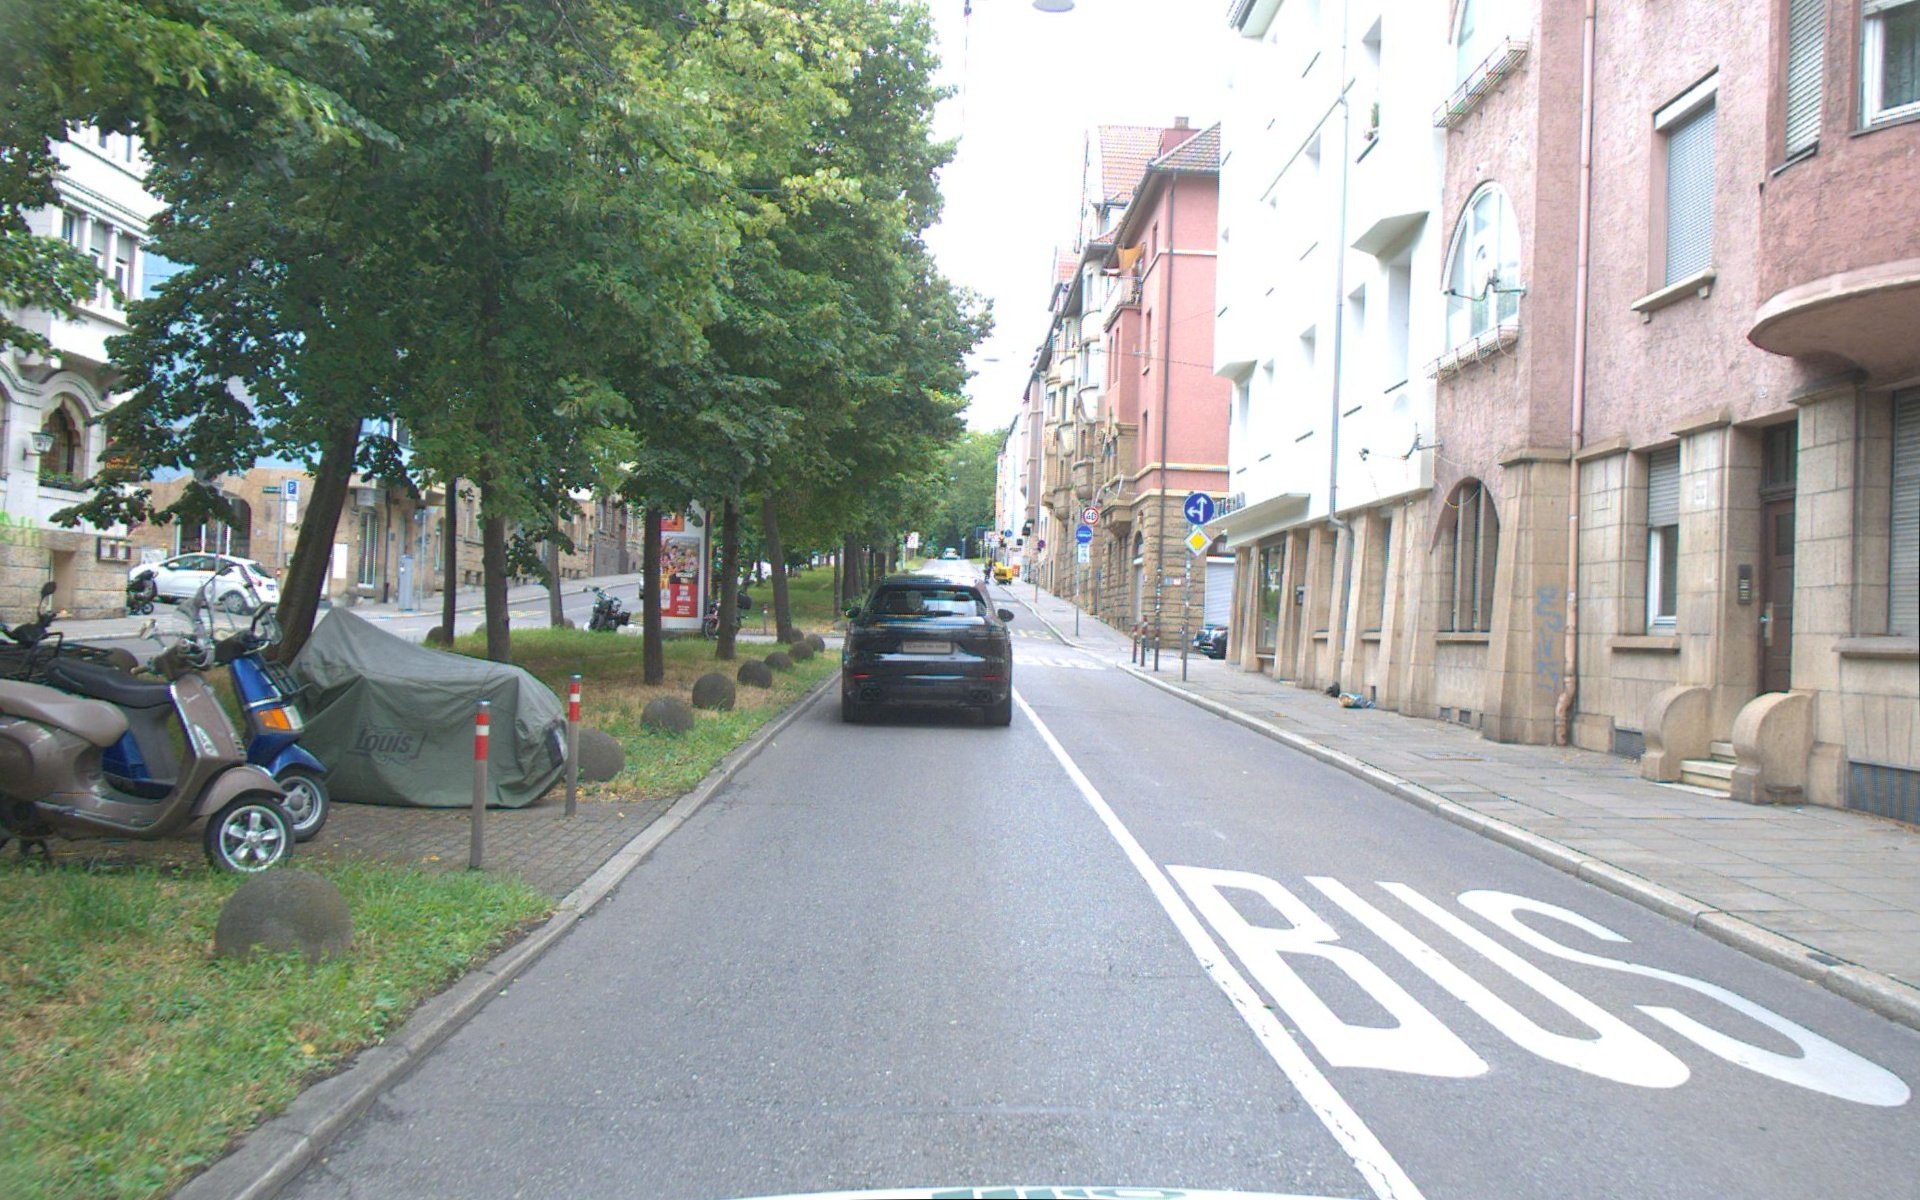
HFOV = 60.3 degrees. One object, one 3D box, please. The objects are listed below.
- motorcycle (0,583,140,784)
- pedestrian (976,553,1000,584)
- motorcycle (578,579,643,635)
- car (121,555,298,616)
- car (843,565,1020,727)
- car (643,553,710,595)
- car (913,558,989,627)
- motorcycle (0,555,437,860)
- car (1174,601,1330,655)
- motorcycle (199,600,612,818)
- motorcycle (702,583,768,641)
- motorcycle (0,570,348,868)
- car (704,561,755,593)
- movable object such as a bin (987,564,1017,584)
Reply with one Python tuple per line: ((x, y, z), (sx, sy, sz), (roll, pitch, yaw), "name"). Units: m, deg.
((-6.713, 0.515, 11.064), (1.986, 1.257, 0.897), (1, 0, 4), "motorcycle")
((1.950, -2.187, 114.218), (1.290, 2.049, 1.007), (2, 0, -36), "pedestrian")
((-7.365, 0.168, 34.954), (0.882, 1.126, 2.251), (1, -1, 0), "motorcycle")
((-20.609, -0.403, 45.520), (3.906, 1.523, 2.000), (2, 1, -1), "car")
((-0.385, 0.482, 19.976), (1.865, 1.695, 4.134), (2, 0, -2), "car")
((-11.793, -1.081, 69.056), (1.953, 1.652, 4.815), (2, 1, -1), "car")
((-0.248, -0.207, 46.045), (1.953, 1.784, 4.000), (2, 0, 0), "car")
((-4.029, 0.535, 8.815), (2.148, 1.463, 0.874), (2, 0, 1), "motorcycle")
((8.095, 0.772, 45.807), (3.947, 1.400, 1.979), (1, 0, -31), "car")
((-3.528, 0.676, 10.728), (2.308, 1.257, 1.033), (2, 1, -3), "motorcycle")
((-4.751, 0.237, 35.120), (1.041, 1.168, 2.448), (1, 0, 0), "motorcycle")
((-4.051, 0.542, 7.904), (1.886, 1.319, 0.893), (1, -2, -3), "motorcycle")
((-11.662, -1.167, 83.984), (1.953, 1.509, 4.531), (2, 1, -1), "car")
((2.859, -1.774, 113.051), (1.227, 1.296, 1.824), (2, 0, -35), "movable object such as a bin")
